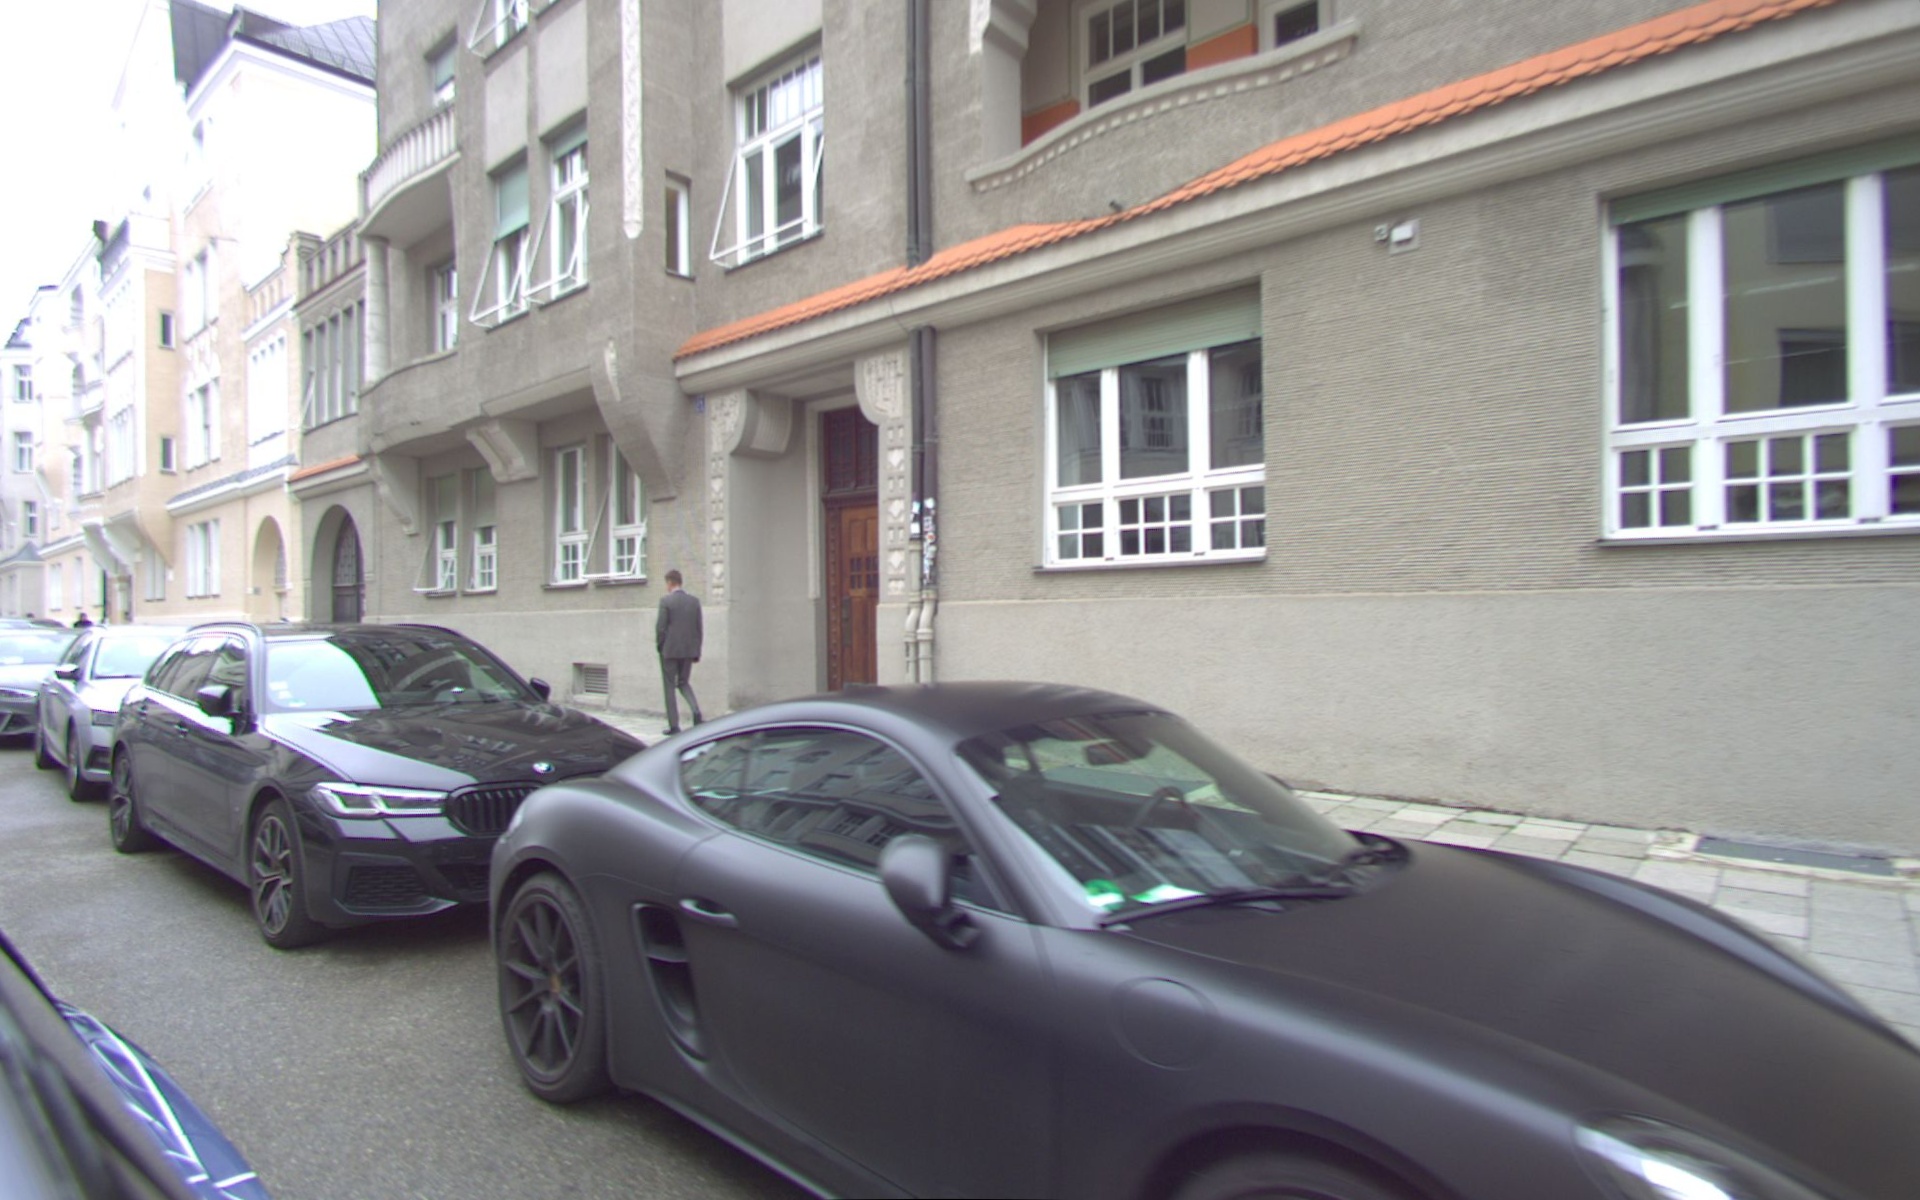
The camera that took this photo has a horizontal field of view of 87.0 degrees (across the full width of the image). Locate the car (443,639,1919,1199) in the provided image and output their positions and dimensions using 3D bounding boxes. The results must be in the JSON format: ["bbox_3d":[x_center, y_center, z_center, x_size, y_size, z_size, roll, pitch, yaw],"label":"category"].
[{"bbox_3d":[0.300,0.816,2.774,4.095,1.341,1.736,-1,-1,42],"label":"car"}]

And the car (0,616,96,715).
[{"bbox_3d":[-16.889,1.108,17.837,3.808,1.584,1.786,-1,0,38],"label":"car"}]

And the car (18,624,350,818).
[{"bbox_3d":[-7.599,0.970,9.735,4.439,1.442,1.786,-2,-2,43],"label":"car"}]

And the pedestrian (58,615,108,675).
[{"bbox_3d":[-26.267,1.330,30.311,0.939,1.742,0.982,-1,-1,41],"label":"pedestrian"}]

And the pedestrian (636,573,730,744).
[{"bbox_3d":[-3.109,0.632,11.378,0.730,1.831,0.709,-1,-1,40],"label":"pedestrian"}]

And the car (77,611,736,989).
[{"bbox_3d":[-3.666,0.827,6.245,4.775,1.459,1.973,-1,-1,40],"label":"car"}]

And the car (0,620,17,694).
[{"bbox_3d":[-23.853,1.338,23.963,4.618,1.671,1.929,-1,0,43],"label":"car"}]

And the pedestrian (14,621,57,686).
[{"bbox_3d":[-26.526,1.529,29.042,0.740,1.803,0.826,-1,-1,41],"label":"pedestrian"}]

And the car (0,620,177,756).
[{"bbox_3d":[-12.183,1.048,13.382,4.601,1.525,1.819,-1,-2,38],"label":"car"}]
